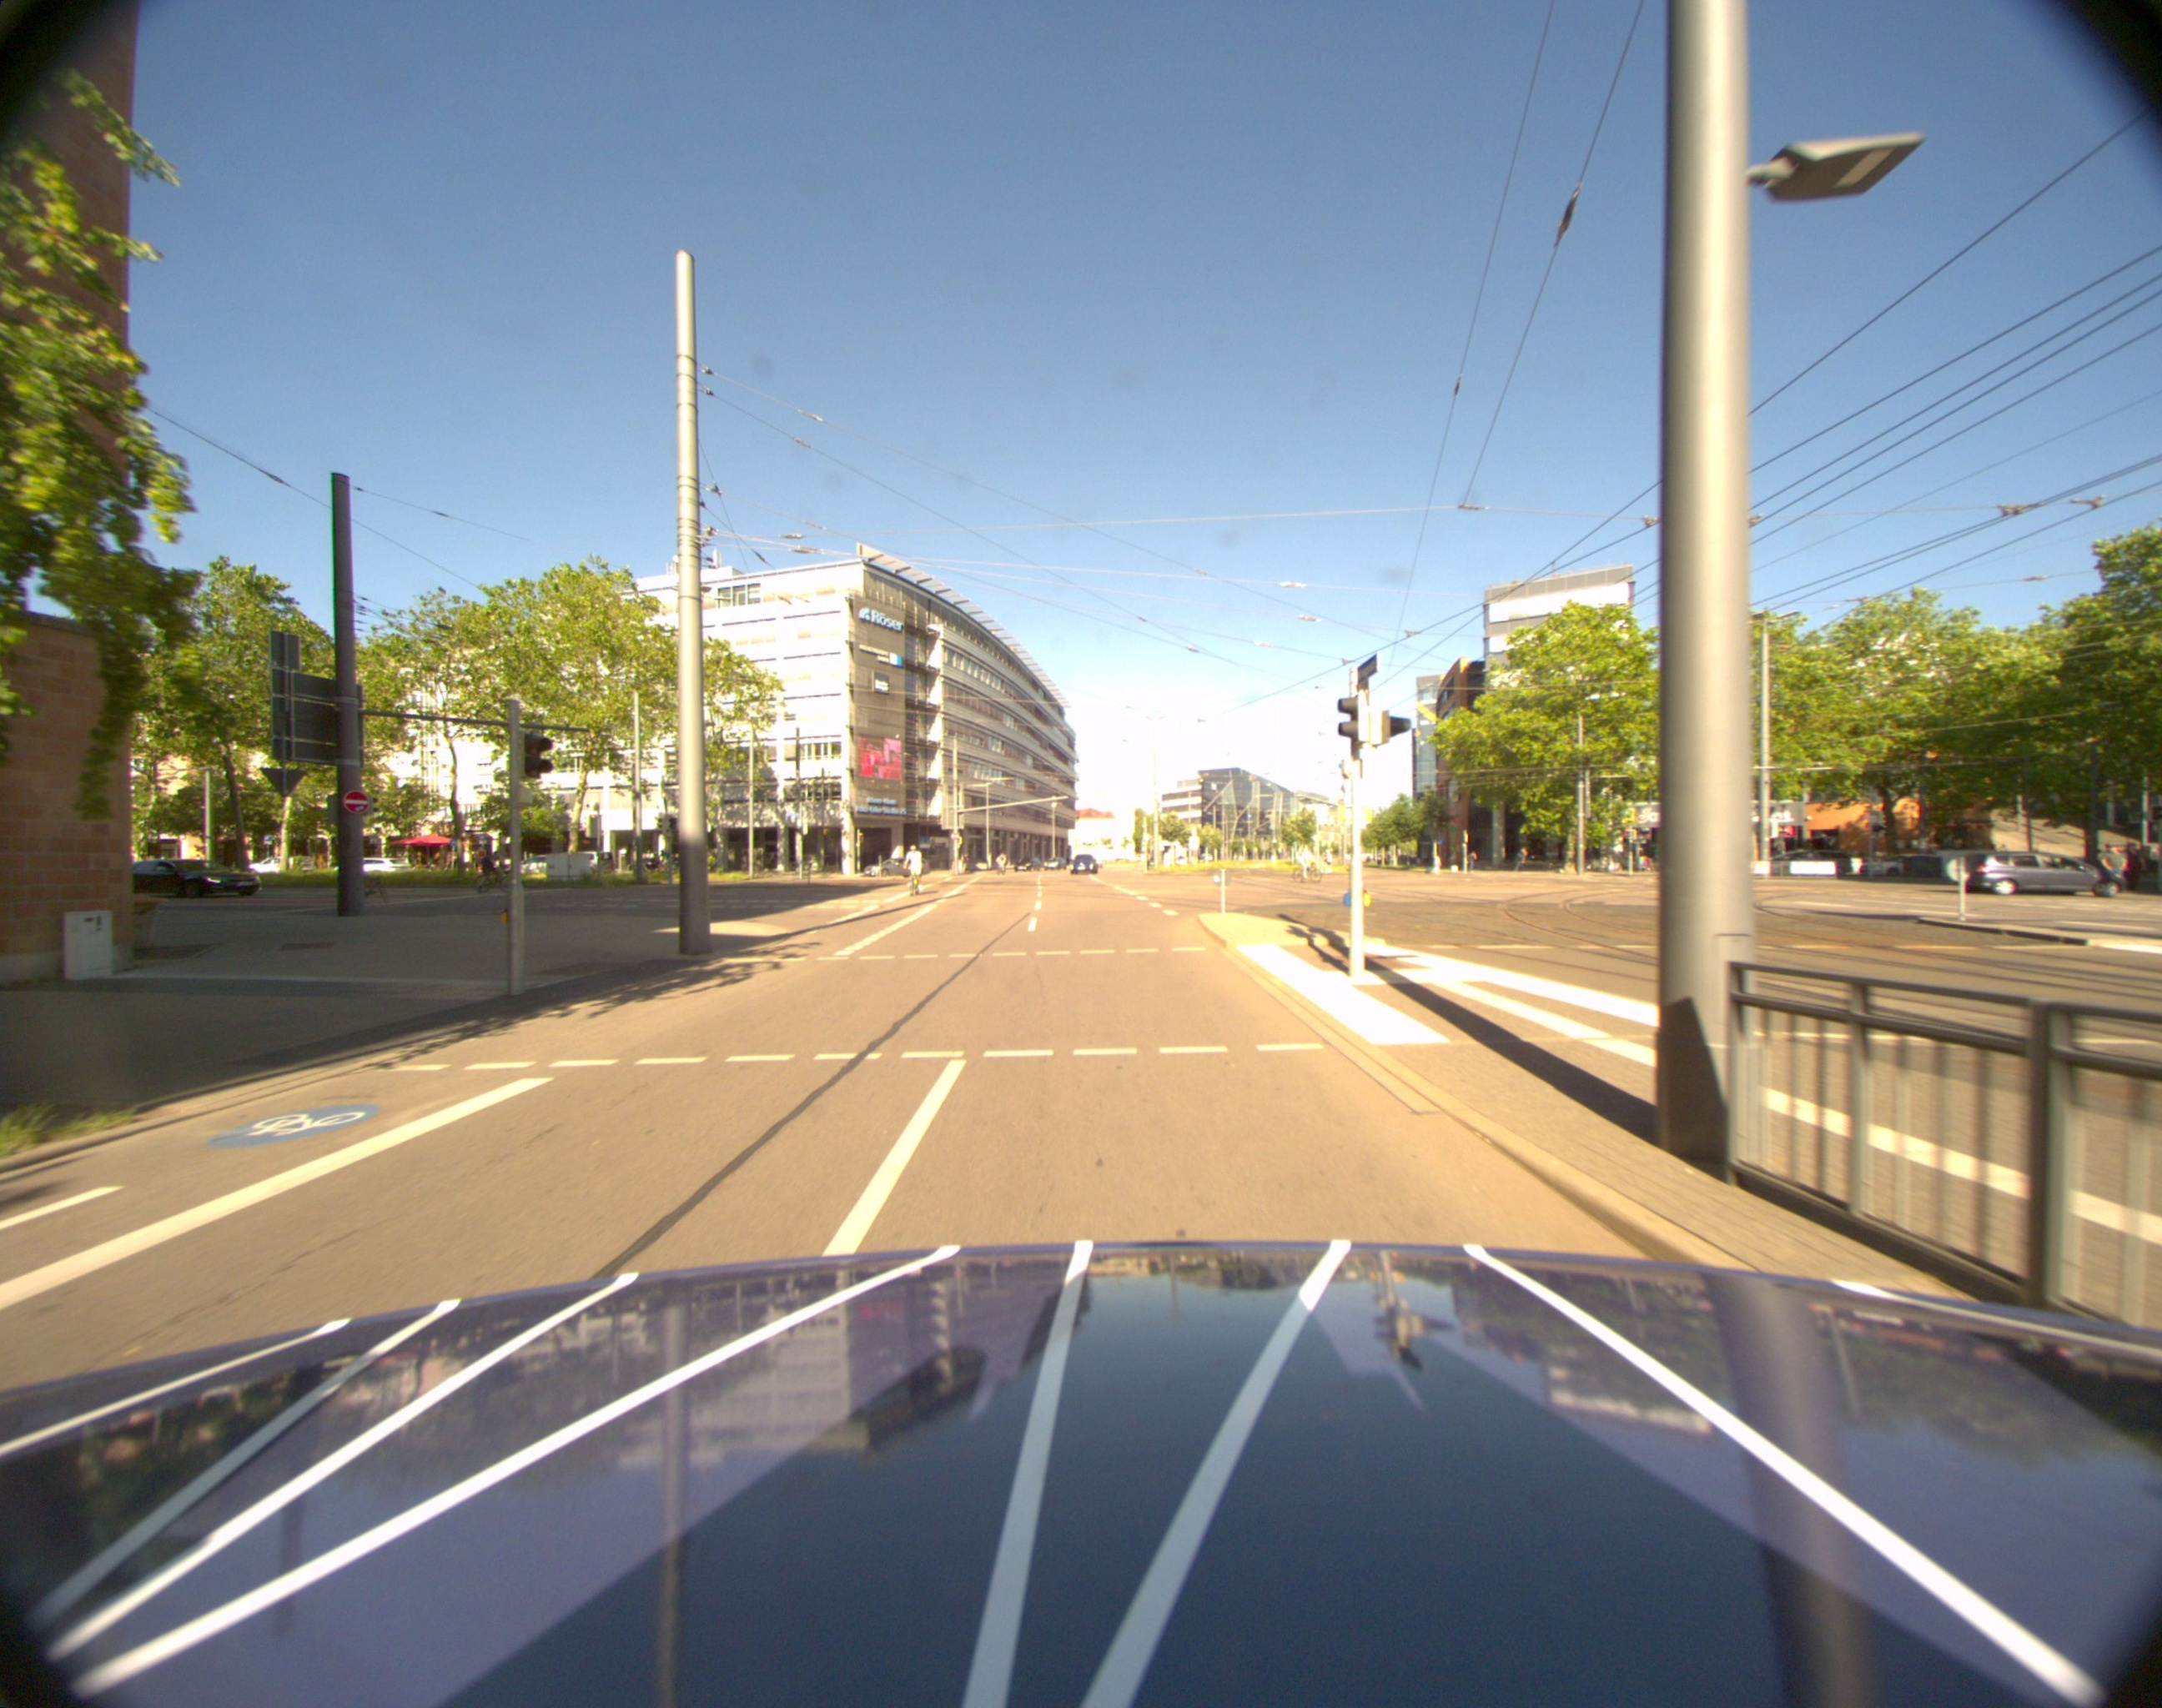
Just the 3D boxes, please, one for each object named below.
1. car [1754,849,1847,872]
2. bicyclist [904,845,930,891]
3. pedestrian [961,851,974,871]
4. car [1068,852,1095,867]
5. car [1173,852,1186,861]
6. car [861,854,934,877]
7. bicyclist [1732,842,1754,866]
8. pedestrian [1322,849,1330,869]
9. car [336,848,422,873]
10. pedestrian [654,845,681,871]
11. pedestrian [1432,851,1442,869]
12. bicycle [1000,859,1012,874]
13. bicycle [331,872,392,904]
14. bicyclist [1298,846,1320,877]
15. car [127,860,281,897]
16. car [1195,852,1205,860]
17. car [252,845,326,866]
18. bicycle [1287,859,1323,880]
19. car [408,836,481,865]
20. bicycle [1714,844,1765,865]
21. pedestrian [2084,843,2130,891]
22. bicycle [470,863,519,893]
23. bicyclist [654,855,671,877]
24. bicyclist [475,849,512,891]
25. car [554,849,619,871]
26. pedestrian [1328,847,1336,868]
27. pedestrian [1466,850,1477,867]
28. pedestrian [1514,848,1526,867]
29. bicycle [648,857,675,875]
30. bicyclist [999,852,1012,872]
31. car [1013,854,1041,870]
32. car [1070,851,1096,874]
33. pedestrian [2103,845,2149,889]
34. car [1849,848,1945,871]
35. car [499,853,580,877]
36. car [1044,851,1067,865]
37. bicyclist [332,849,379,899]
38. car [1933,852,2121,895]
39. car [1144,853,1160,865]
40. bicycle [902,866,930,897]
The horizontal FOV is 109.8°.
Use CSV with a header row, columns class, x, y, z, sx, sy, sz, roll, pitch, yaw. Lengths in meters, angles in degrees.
class,x,y,z,sx,sy,sz,roll,pitch,yaw
car,47.229,0.423,49.971,4.168,1.499,1.910,0,1,5
bicyclist,-6.219,0.528,28.854,0.684,1.718,0.909,-2,1,5
pedestrian,-9.983,0.615,66.821,0.858,1.677,0.802,0,1,15
car,0.041,0.533,79.634,2.120,1.547,4.003,0,0,11
car,16.813,0.406,129.461,1.953,1.455,4.002,-2,1,10
car,-13.213,0.792,54.920,1.930,1.548,4.861,0,1,44
bicyclist,49.610,-0.026,56.954,0.926,1.798,0.861,0,1,8
pedestrian,19.818,0.370,61.415,0.580,1.625,0.548,0,1,14
car,-48.749,0.435,52.825,4.247,1.636,1.936,0,1,3
pedestrian,-32.163,0.339,59.136,1.182,2.002,1.467,0,1,10
pedestrian,29.011,0.490,61.900,0.662,1.389,0.673,0,1,14
bicycle,-6.045,1.000,61.273,0.578,1.090,1.508,-2,0,8
bicycle,-24.176,1.150,25.536,1.506,1.021,0.481,-1,0,-4
bicyclist,12.179,0.388,40.541,0.780,1.630,0.847,-1,1,-38
car,-33.735,0.908,29.283,4.289,1.352,1.823,0,1,8
car,23.626,0.309,150.551,1.953,1.455,4.002,-2,1,10
car,-61.522,0.130,59.058,4.244,1.636,1.937,0,1,10
bicycle,11.988,0.807,40.697,0.639,1.093,1.836,-1,1,-39
car,-48.943,-0.259,58.451,4.244,2.222,1.937,0,1,10
bicycle,49.368,0.043,57.001,2.844,1.528,0.904,0,1,8
pedestrian,37.117,0.455,27.494,0.645,1.696,0.728,0,1,7
bicycle,-23.844,0.973,30.901,1.542,1.140,0.481,-1,0,-4
bicyclist,-28.213,0.804,51.261,0.761,1.400,0.755,0,1,-5
bicyclist,-23.906,0.642,30.912,0.936,1.659,0.685,0,1,-5
car,-37.094,0.432,57.028,3.924,1.668,1.819,0,1,10
pedestrian,20.827,0.290,63.143,0.580,1.669,0.548,0,1,14
pedestrian,33.386,0.383,64.958,0.662,1.389,0.673,0,1,14
pedestrian,37.179,0.316,64.362,0.780,1.614,0.673,0,1,14
bicycle,-28.301,0.809,51.286,1.542,1.140,0.481,0,1,-7
bicyclist,-6.083,0.656,61.188,0.755,1.607,0.762,-2,1,8
car,-5.356,0.790,76.321,1.882,1.455,4.002,-2,1,9
car,0.208,0.628,58.347,1.802,1.597,4.000,-2,1,2
pedestrian,38.585,0.474,28.060,0.645,1.601,0.728,0,1,7
car,52.934,0.339,49.338,3.995,1.499,1.910,0,1,5
car,-37.104,0.741,52.114,4.246,1.636,1.936,0,1,5
car,-2.937,0.480,87.953,1.882,1.455,4.002,-2,1,9
bicyclist,-24.340,0.655,25.499,0.896,1.659,0.685,0,1,-5
car,32.778,0.641,26.474,3.669,1.402,1.813,0,1,22
car,9.874,0.672,105.264,1.882,1.455,4.002,-2,1,10
bicycle,-6.237,1.016,28.780,0.578,1.090,1.507,-2,0,4
